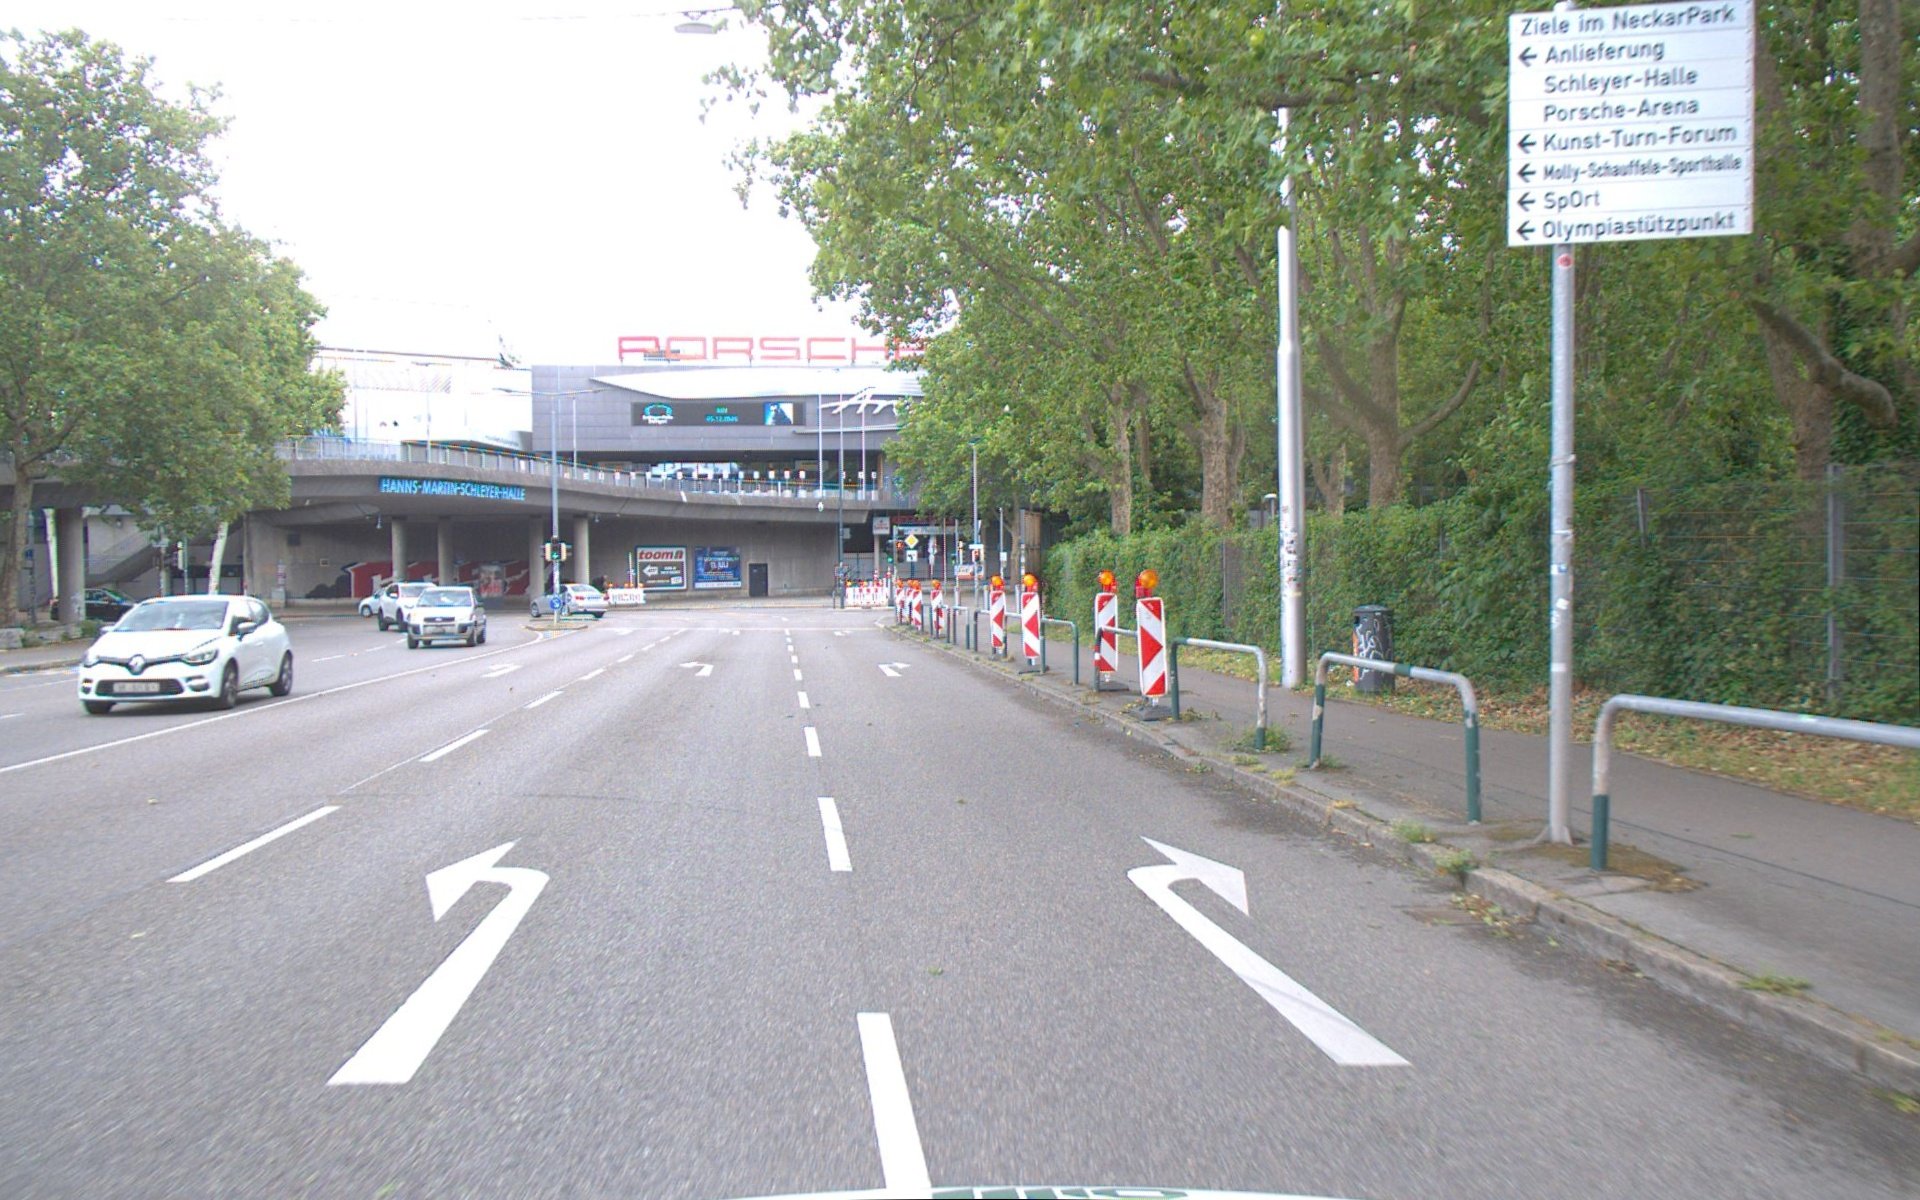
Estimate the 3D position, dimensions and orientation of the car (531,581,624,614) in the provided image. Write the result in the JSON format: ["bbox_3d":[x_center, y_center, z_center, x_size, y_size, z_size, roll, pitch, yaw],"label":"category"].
[{"bbox_3d":[-16.838,-0.118,72.779,3.924,1.443,1.991,0,0,39],"label":"car"}]

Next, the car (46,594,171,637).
[{"bbox_3d":[-36.385,0.654,70.738,4.325,1.634,1.775,-2,1,-2],"label":"car"}]

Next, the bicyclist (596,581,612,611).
[{"bbox_3d":[-21.173,-0.243,98.424,0.836,1.727,0.765,1,0,-10],"label":"bicyclist"}]

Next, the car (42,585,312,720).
[{"bbox_3d":[-10.277,0.602,22.113,1.956,1.557,4.378,-2,1,-8],"label":"car"}]

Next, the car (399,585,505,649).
[{"bbox_3d":[-13.363,0.413,43.708,1.956,1.552,3.994,-2,0,-7],"label":"car"}]

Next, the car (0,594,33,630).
[{"bbox_3d":[-46.909,0.588,79.170,3.912,1.689,1.996,0,0,-8],"label":"car"}]

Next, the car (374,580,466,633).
[{"bbox_3d":[-18.966,0.200,57.998,1.976,1.775,4.542,0,0,-33],"label":"car"}]

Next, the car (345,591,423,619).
[{"bbox_3d":[-27.681,0.219,79.481,3.315,1.336,1.616,0,0,22],"label":"car"}]
